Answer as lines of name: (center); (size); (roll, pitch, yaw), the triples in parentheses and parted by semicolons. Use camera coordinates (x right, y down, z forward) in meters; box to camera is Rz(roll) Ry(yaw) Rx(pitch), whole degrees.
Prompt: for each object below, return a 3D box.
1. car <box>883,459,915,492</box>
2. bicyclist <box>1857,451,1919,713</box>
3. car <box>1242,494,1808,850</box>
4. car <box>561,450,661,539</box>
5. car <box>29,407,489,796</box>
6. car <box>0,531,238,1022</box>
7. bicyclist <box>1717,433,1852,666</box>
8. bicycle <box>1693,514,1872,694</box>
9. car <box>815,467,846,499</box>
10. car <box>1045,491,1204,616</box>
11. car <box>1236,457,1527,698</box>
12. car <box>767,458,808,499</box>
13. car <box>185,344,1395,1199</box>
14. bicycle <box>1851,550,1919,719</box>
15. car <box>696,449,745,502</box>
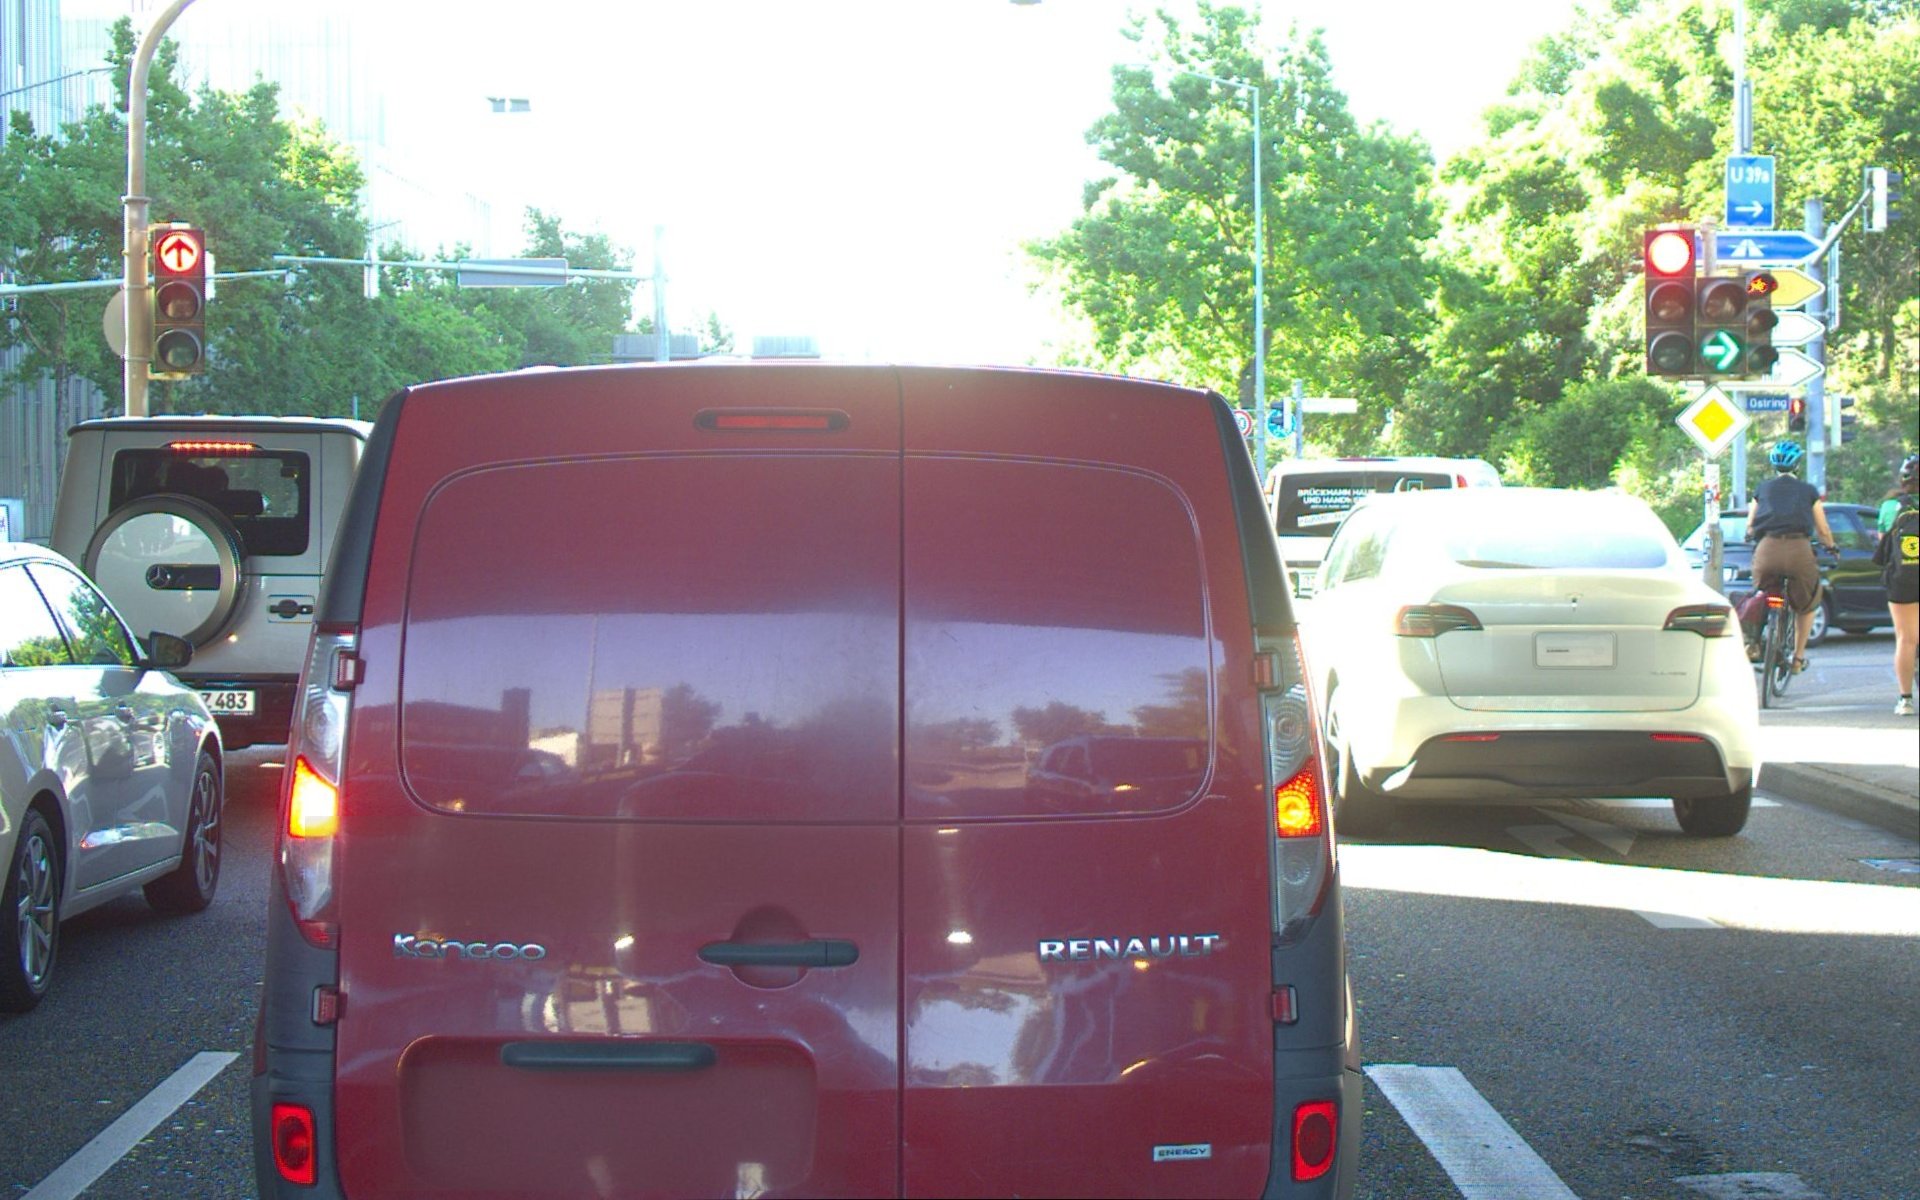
car: (-3.897, -7.983, 220.639); (1.993, 2.007, 4.000); (1, 1, -1)
bicyclist: (6.042, -0.111, 21.663); (0.677, 1.623, 0.644); (1, 0, 10)
car: (2.655, 0.255, 17.269); (1.993, 1.546, 4.421); (1, 2, -1)
car: (-8.354, -2.506, 82.503); (1.993, 2.007, 4.000); (1, 1, -1)
car: (-3.720, -0.028, 18.872); (1.813, 1.897, 3.814); (1, 1, -1)
car: (-3.642, 0.475, 11.513); (1.692, 1.405, 3.814); (1, 1, -1)
bicyclist: (5.539, -0.338, 23.074); (0.654, 1.528, 0.845); (1, 1, 30)
bicycle: (5.542, 0.011, 23.094); (0.652, 1.163, 1.775); (1, 1, 31)
car: (-8.624, -7.772, 228.642); (1.929, 2.007, 3.914); (1, 1, -1)
car: (1.992, -0.587, 42.528); (1.745, 1.451, 3.717); (1, 1, -1)
car: (3.628, -0.263, 28.857); (1.899, 1.830, 4.833); (1, 2, 13)
car: (-9.064, -6.403, 181.152); (1.993, 2.007, 4.000); (1, 1, -1)
car: (-0.270, 0.483, 6.935); (1.719, 1.758, 4.000); (1, 1, -1)
bicycle: (6.035, 0.207, 21.670); (0.677, 1.020, 1.528); (1, 1, 10)
car: (-9.771, -5.060, 140.251); (1.748, 2.007, 3.845); (1, 1, -1)
